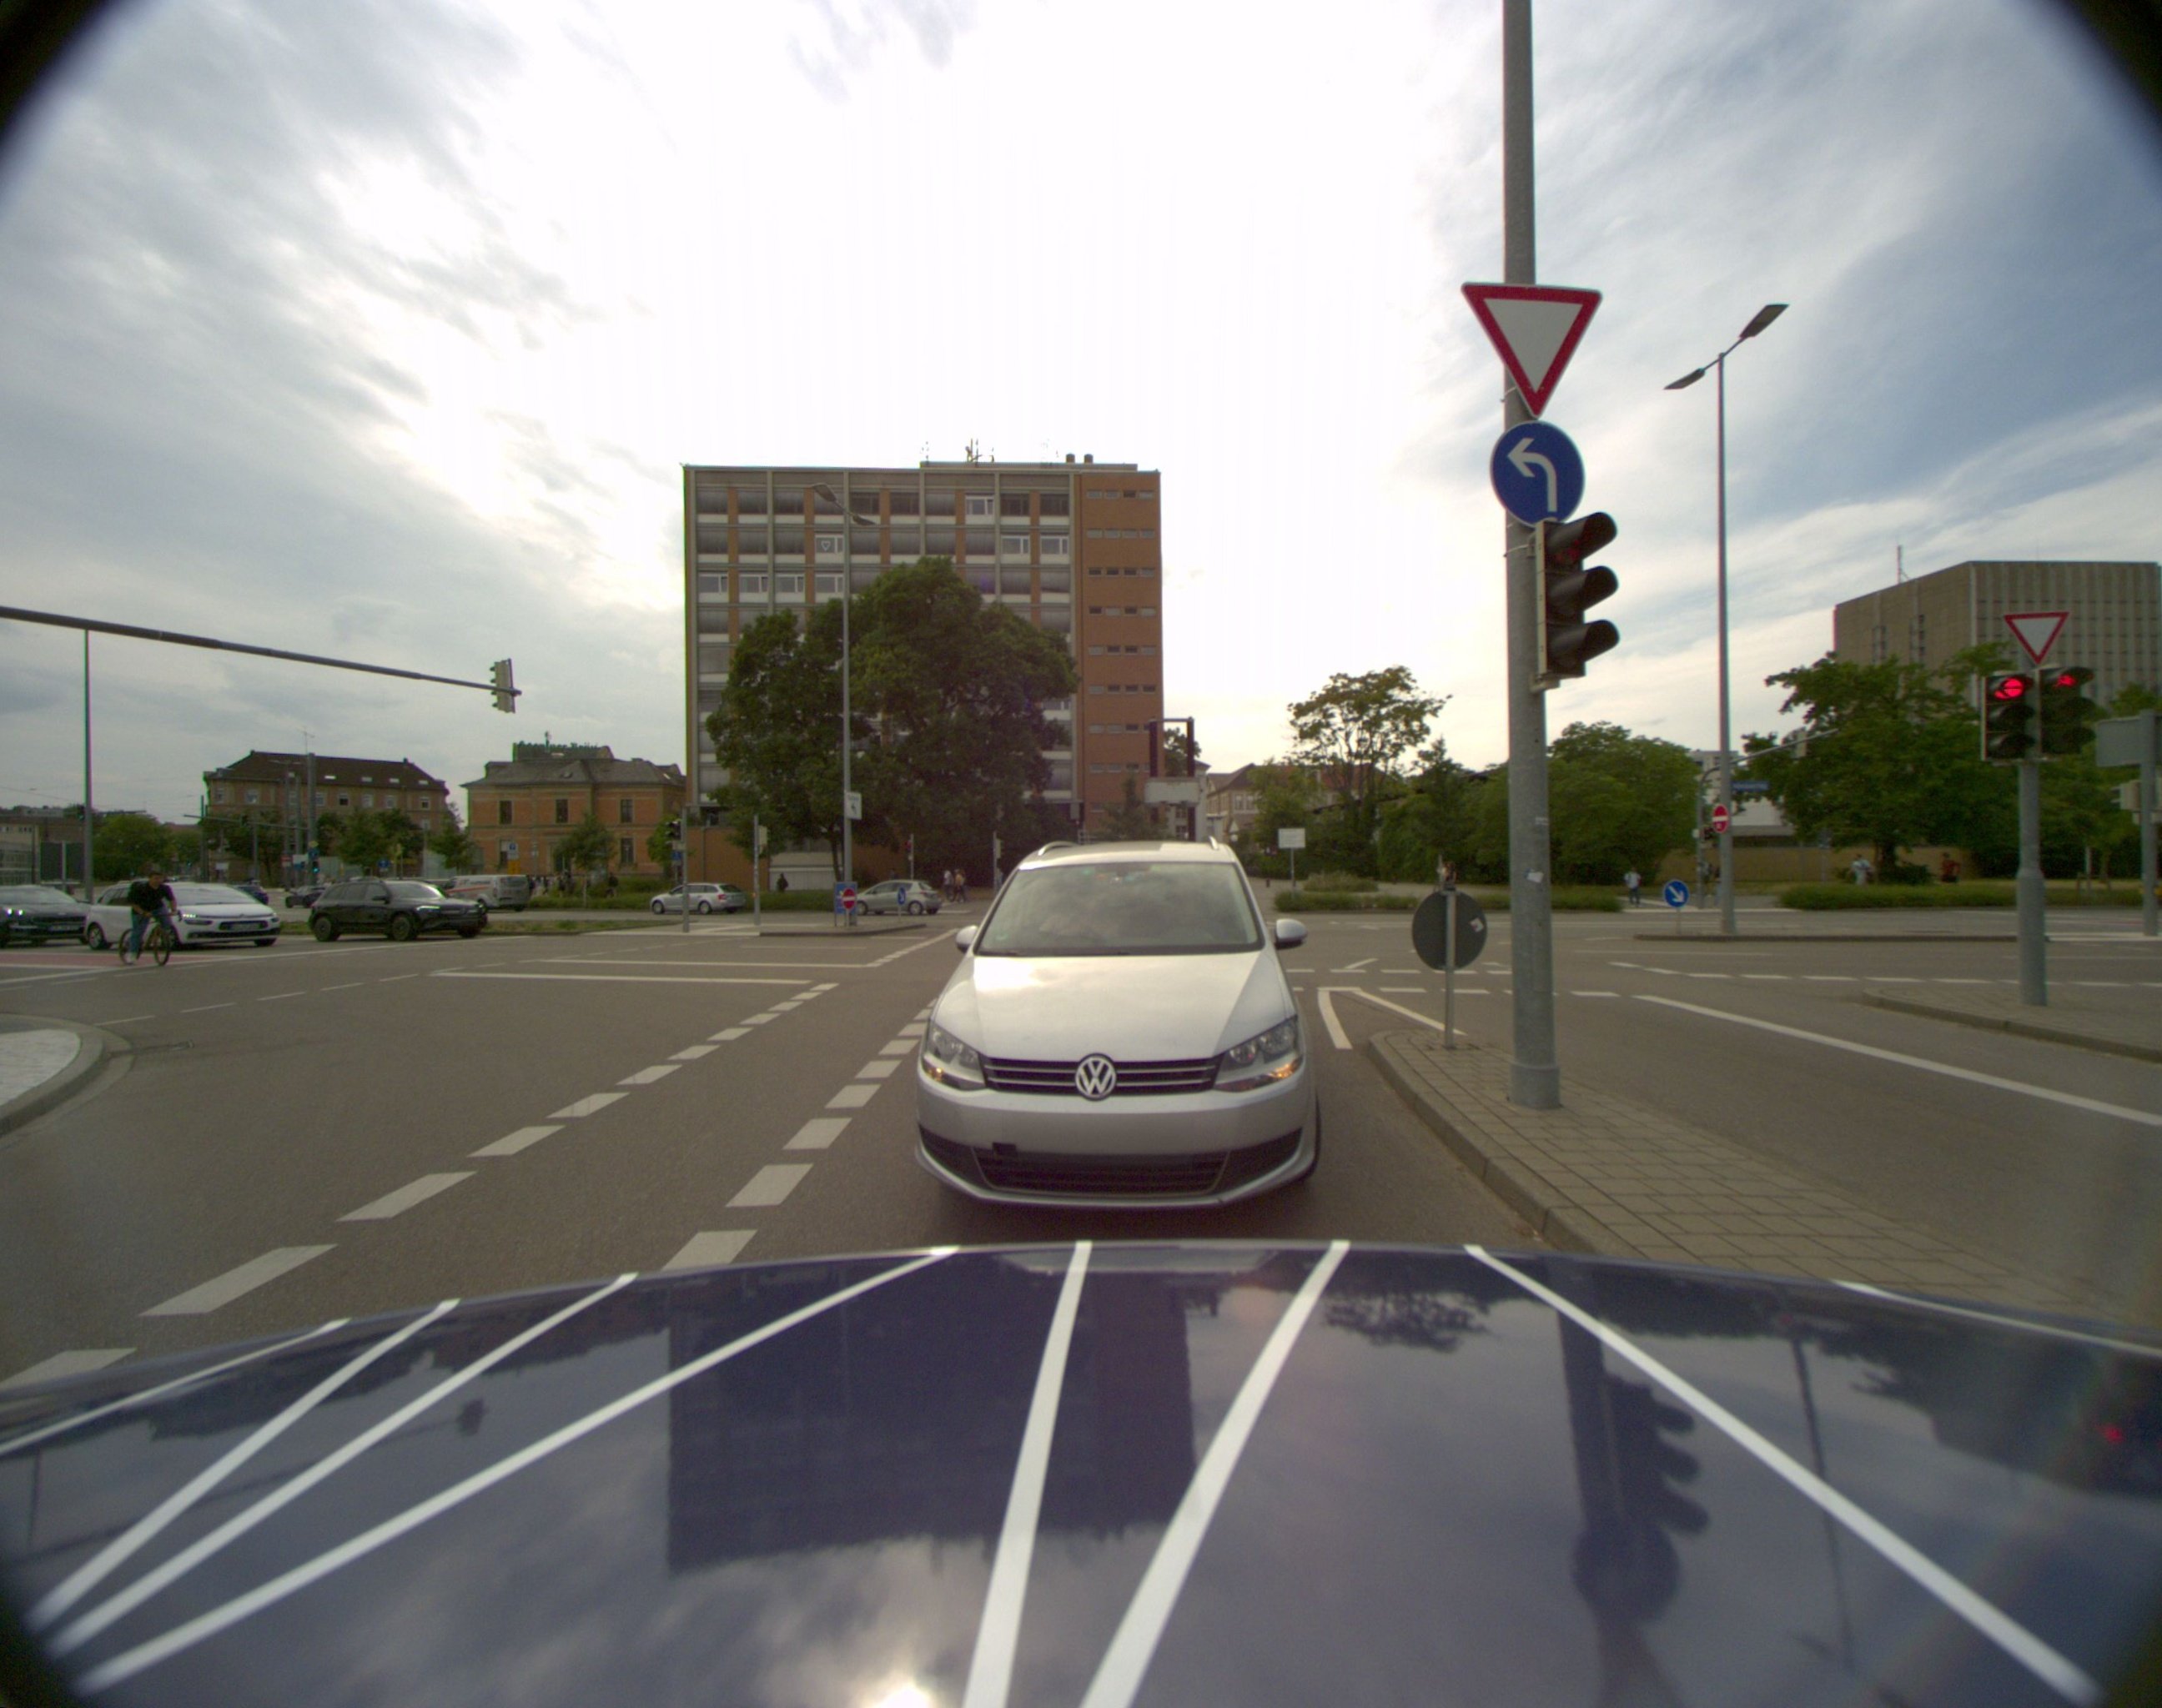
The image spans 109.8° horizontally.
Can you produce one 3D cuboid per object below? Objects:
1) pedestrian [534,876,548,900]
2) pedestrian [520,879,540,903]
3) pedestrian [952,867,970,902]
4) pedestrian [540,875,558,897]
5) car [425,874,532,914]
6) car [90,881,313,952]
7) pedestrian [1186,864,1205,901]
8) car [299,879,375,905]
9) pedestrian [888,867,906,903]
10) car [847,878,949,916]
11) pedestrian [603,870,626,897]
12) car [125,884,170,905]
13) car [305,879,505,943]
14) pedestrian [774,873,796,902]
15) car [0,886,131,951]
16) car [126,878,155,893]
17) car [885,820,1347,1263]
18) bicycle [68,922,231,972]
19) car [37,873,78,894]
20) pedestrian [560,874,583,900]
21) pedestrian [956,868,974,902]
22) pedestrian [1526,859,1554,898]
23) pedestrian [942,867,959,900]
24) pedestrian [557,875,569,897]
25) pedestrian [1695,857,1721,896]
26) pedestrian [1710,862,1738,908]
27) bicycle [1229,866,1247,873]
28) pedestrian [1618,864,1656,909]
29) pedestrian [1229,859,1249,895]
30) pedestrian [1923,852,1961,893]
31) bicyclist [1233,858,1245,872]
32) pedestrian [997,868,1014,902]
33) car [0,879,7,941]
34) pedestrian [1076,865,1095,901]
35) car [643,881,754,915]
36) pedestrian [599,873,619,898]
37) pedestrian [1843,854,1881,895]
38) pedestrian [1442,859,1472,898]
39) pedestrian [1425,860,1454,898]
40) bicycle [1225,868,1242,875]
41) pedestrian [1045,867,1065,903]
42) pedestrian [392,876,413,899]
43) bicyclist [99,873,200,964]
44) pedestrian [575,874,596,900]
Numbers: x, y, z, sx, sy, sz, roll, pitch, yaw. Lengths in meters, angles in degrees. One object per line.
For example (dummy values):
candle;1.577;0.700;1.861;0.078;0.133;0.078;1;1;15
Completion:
pedestrian;-35.218;2.227;49.516;0.550;1.528;0.548;-2;1;-18
pedestrian;-36.523;2.425;50.355;0.810;1.565;0.782;-1;1;28
pedestrian;-5.985;1.527;37.845;0.707;1.701;0.640;-1;1;5
pedestrian;-38.496;2.313;54.991;0.810;1.565;0.782;-1;1;28
car;-31.738;2.119;40.042;5.194;1.947;1.828;-2;-2;18
car;-21.894;1.529;18.967;4.282;1.640;2.003;-2;-2;16
pedestrian;5.419;1.355;35.930;0.799;1.700;0.840;-1;-2;5
car;-46.119;2.352;47.127;3.993;1.523;1.867;-2;-2;21
pedestrian;-9.722;1.625;40.103;0.707;1.841;0.640;-1;0;5
car;-7.752;1.821;32.246;3.868;1.480;1.674;-2;-2;14
pedestrian;-28.490;1.803;46.407;0.810;1.565;0.781;-1;1;24
car;-90.154;3.932;73.382;3.990;2.001;2.004;-2;-3;29
car;-18.585;1.554;20.934;4.503;1.640;2.003;-2;-2;16
pedestrian;-16.637;1.857;42.730;0.811;1.565;0.780;-1;1;5
car;-28.760;1.727;20.747;4.282;1.640;2.003;-2;-2;16
car;-105.327;3.524;85.083;3.537;1.605;1.845;-3;-3;36
car;0.319;0.839;5.309;1.823;1.723;4.532;-1;-2;5
bicycle;-17.590;1.747;14.360;2.515;0.871;0.866;-1;-2;11
car;-97.762;2.806;72.565;3.989;1.911;2.005;-2;-3;32
pedestrian;-31.166;2.000;46.464;0.810;1.565;0.781;-1;1;24
pedestrian;-5.885;1.588;38.564;0.707;1.700;0.640;-1;-2;5
pedestrian;20.576;1.102;34.077;0.799;1.700;0.715;-1;-2;-1
pedestrian;-6.798;1.544;39.627;0.707;1.701;0.640;-1;0;5
pedestrian;-33.148;2.055;48.625;0.551;1.334;0.548;-2;1;-40
pedestrian;27.279;0.983;33.076;0.694;1.686;0.544;-1;2;-1
pedestrian;24.182;1.160;28.590;0.587;1.700;0.481;-1;-2;7
bicycle;16.594;1.648;80.214;1.842;0.689;0.653;-1;-2;10
pedestrian;21.529;1.272;29.422;0.838;1.700;0.800;-1;-2;7
pedestrian;7.548;1.117;36.310;0.799;1.700;0.840;-1;-2;5
pedestrian;36.611;0.789;32.307;0.694;1.700;0.715;-1;-2;2
bicyclist;15.274;1.059;73.425;1.012;1.269;0.840;-1;-2;1
pedestrian;-3.874;1.570;38.898;0.707;1.701;0.640;-1;2;5
car;-35.023;1.733;22.742;4.282;1.886;2.003;-2;-2;16
pedestrian;0.230;1.424;37.343;0.799;1.700;0.840;-1;-2;5
car;-17.638;2.014;35.089;4.520;1.465;1.828;-2;-2;15
pedestrian;-30.843;2.035;49.664;0.810;1.565;0.782;-1;1;28
pedestrian;33.450;0.878;32.551;0.694;1.700;0.842;-1;-2;-1
pedestrian;16.815;1.088;33.964;0.800;1.700;0.839;-1;-2;-13
pedestrian;16.410;1.158;34.753;0.800;1.700;0.839;-1;-2;-13
bicycle;17.072;1.949;85.040;1.842;0.689;0.653;-1;-2;10
pedestrian;-1.233;1.485;36.229;0.799;1.700;0.840;-1;-2;5
pedestrian;-47.234;2.331;52.887;0.810;1.565;0.782;-1;1;28
bicyclist;-17.582;1.201;14.362;0.879;1.658;0.871;-1;-2;11
pedestrian;-31.185;2.058;47.814;0.810;1.565;0.781;-1;1;24
